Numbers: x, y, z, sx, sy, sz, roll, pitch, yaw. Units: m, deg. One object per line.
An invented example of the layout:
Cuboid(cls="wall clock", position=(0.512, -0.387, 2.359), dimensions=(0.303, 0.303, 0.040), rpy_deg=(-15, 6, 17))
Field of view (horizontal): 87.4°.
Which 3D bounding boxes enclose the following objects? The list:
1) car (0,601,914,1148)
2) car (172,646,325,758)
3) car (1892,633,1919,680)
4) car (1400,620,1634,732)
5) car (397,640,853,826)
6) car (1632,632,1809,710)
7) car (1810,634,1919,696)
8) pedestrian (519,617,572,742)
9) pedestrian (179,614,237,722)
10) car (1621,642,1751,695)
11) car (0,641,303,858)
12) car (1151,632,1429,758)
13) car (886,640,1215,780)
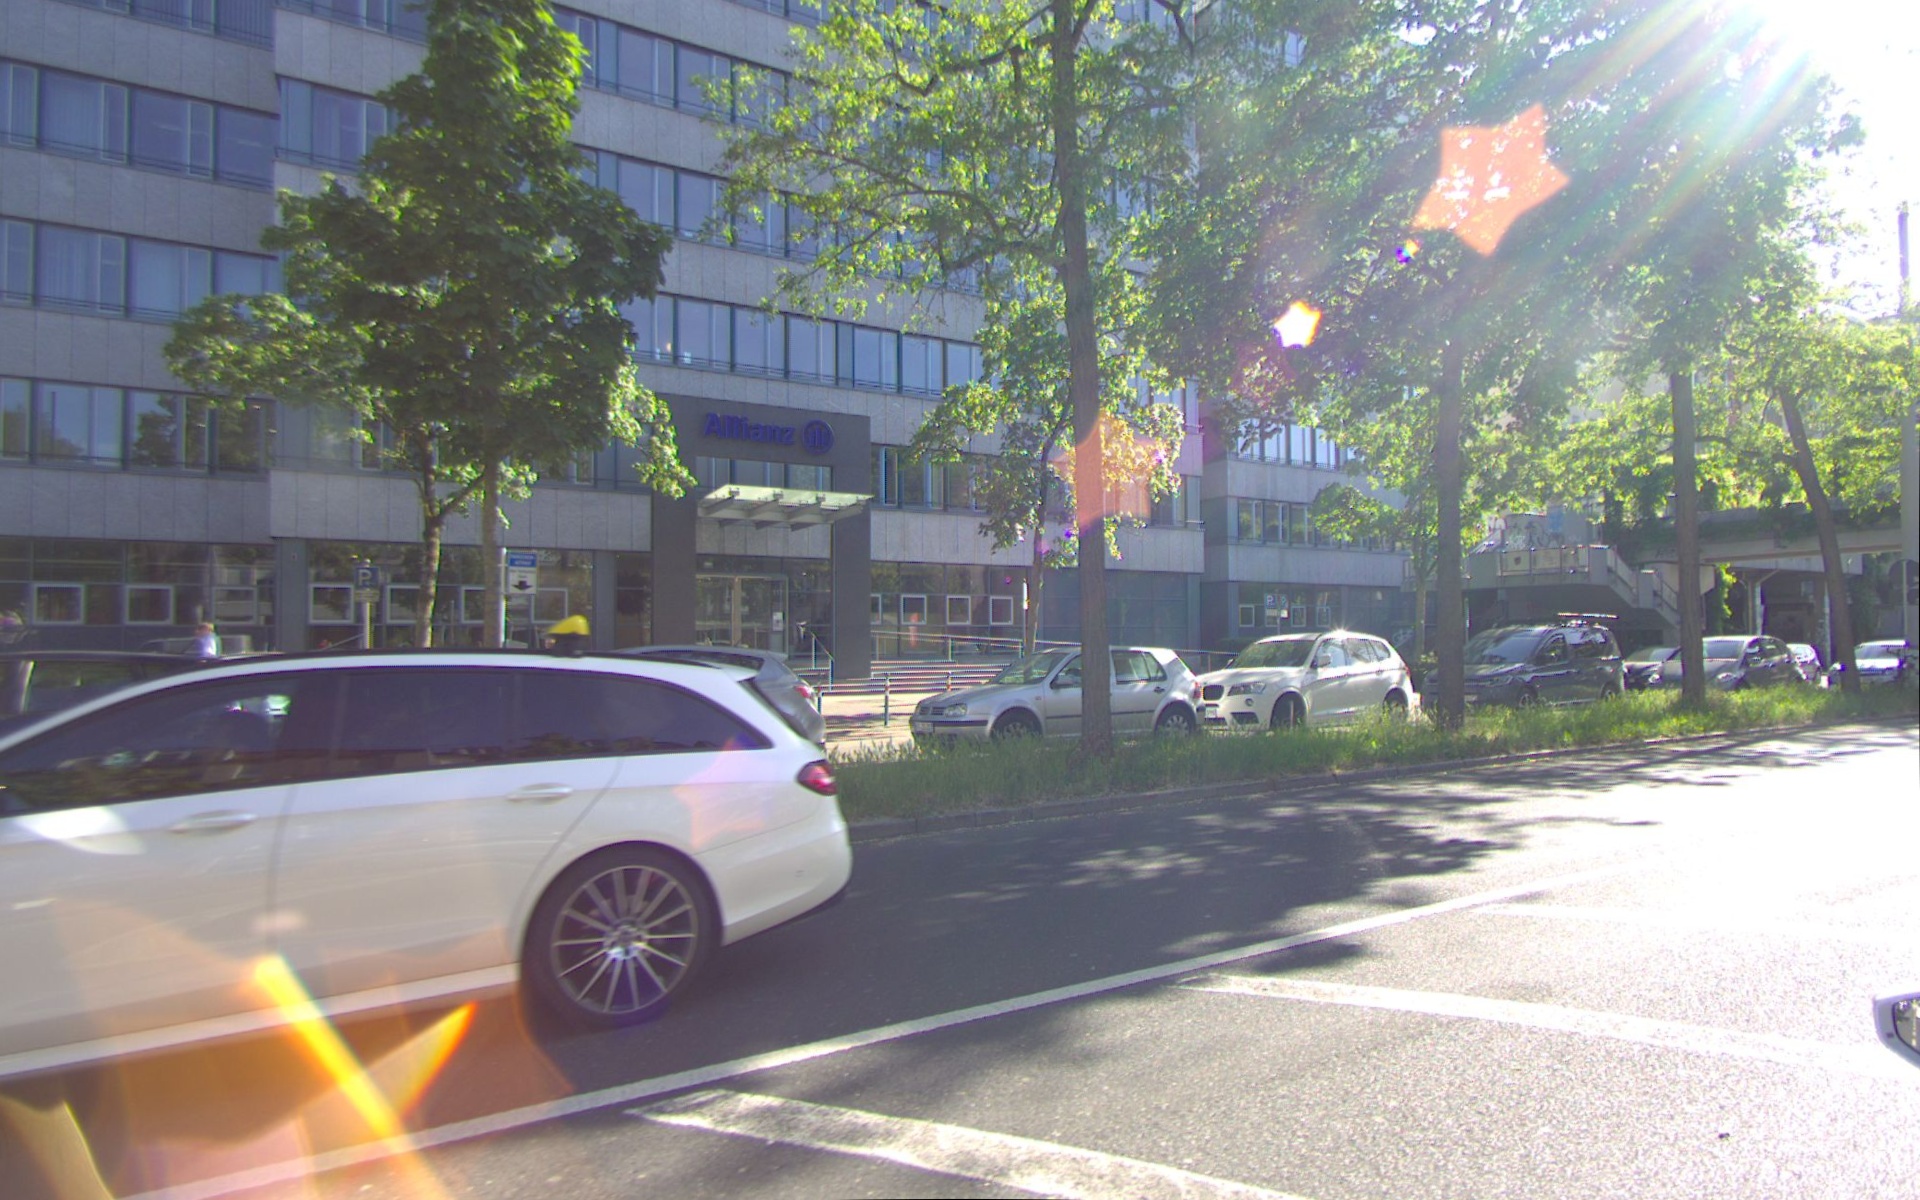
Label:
Cuboid(cls="car", position=(-2.679, 0.879, 4.113), dimensions=(4.661, 1.588, 1.847), rpy_deg=(1, -5, -31))
Cuboid(cls="car", position=(-11.853, 1.596, 16.989), dimensions=(1.841, 1.543, 4.281), rpy_deg=(1, -2, -32))
Cuboid(cls="car", position=(29.134, 1.654, 29.546), dimensions=(3.541, 1.324, 1.624), rpy_deg=(1, -1, -31))
Cuboid(cls="car", position=(10.446, 1.322, 18.766), dimensions=(4.510, 1.874, 1.846), rpy_deg=(1, -1, -31))
Cuboid(cls="car", position=(-3.443, 1.215, 10.536), dimensions=(4.268, 1.543, 1.847), rpy_deg=(1, -1, -31))
Cuboid(cls="car", position=(17.214, 1.535, 22.714), dimensions=(3.825, 1.589, 1.847), rpy_deg=(1, -1, -30))
Cuboid(cls="car", position=(25.423, 1.729, 27.656), dimensions=(4.269, 1.543, 1.846), rpy_deg=(1, -1, -31))
Cuboid(cls="pedestrian", position=(-7.269, 1.377, 17.655), dimensions=(0.761, 2.121, 0.788), rpy_deg=(1, -1, -19))
Cuboid(cls="pedestrian", position=(-15.123, 1.350, 20.222), dimensions=(0.782, 2.121, 0.768), rpy_deg=(2, -1, -28))
Cuboid(cls="car", position=(23.301, 2.159, 32.198), dimensions=(4.269, 1.543, 1.847), rpy_deg=(1, -3, -31))
Cuboid(cls="car", position=(-7.796, 1.116, 7.863), dimensions=(4.265, 1.543, 1.774), rpy_deg=(1, -1, -29))
Cuboid(cls="car", position=(5.305, 1.370, 15.903), dimensions=(4.619, 1.706, 1.843), rpy_deg=(1, -2, -36))
Cuboid(cls="car", position=(1.229, 1.331, 13.267), dimensions=(4.014, 1.543, 1.848), rpy_deg=(1, -1, -29))
